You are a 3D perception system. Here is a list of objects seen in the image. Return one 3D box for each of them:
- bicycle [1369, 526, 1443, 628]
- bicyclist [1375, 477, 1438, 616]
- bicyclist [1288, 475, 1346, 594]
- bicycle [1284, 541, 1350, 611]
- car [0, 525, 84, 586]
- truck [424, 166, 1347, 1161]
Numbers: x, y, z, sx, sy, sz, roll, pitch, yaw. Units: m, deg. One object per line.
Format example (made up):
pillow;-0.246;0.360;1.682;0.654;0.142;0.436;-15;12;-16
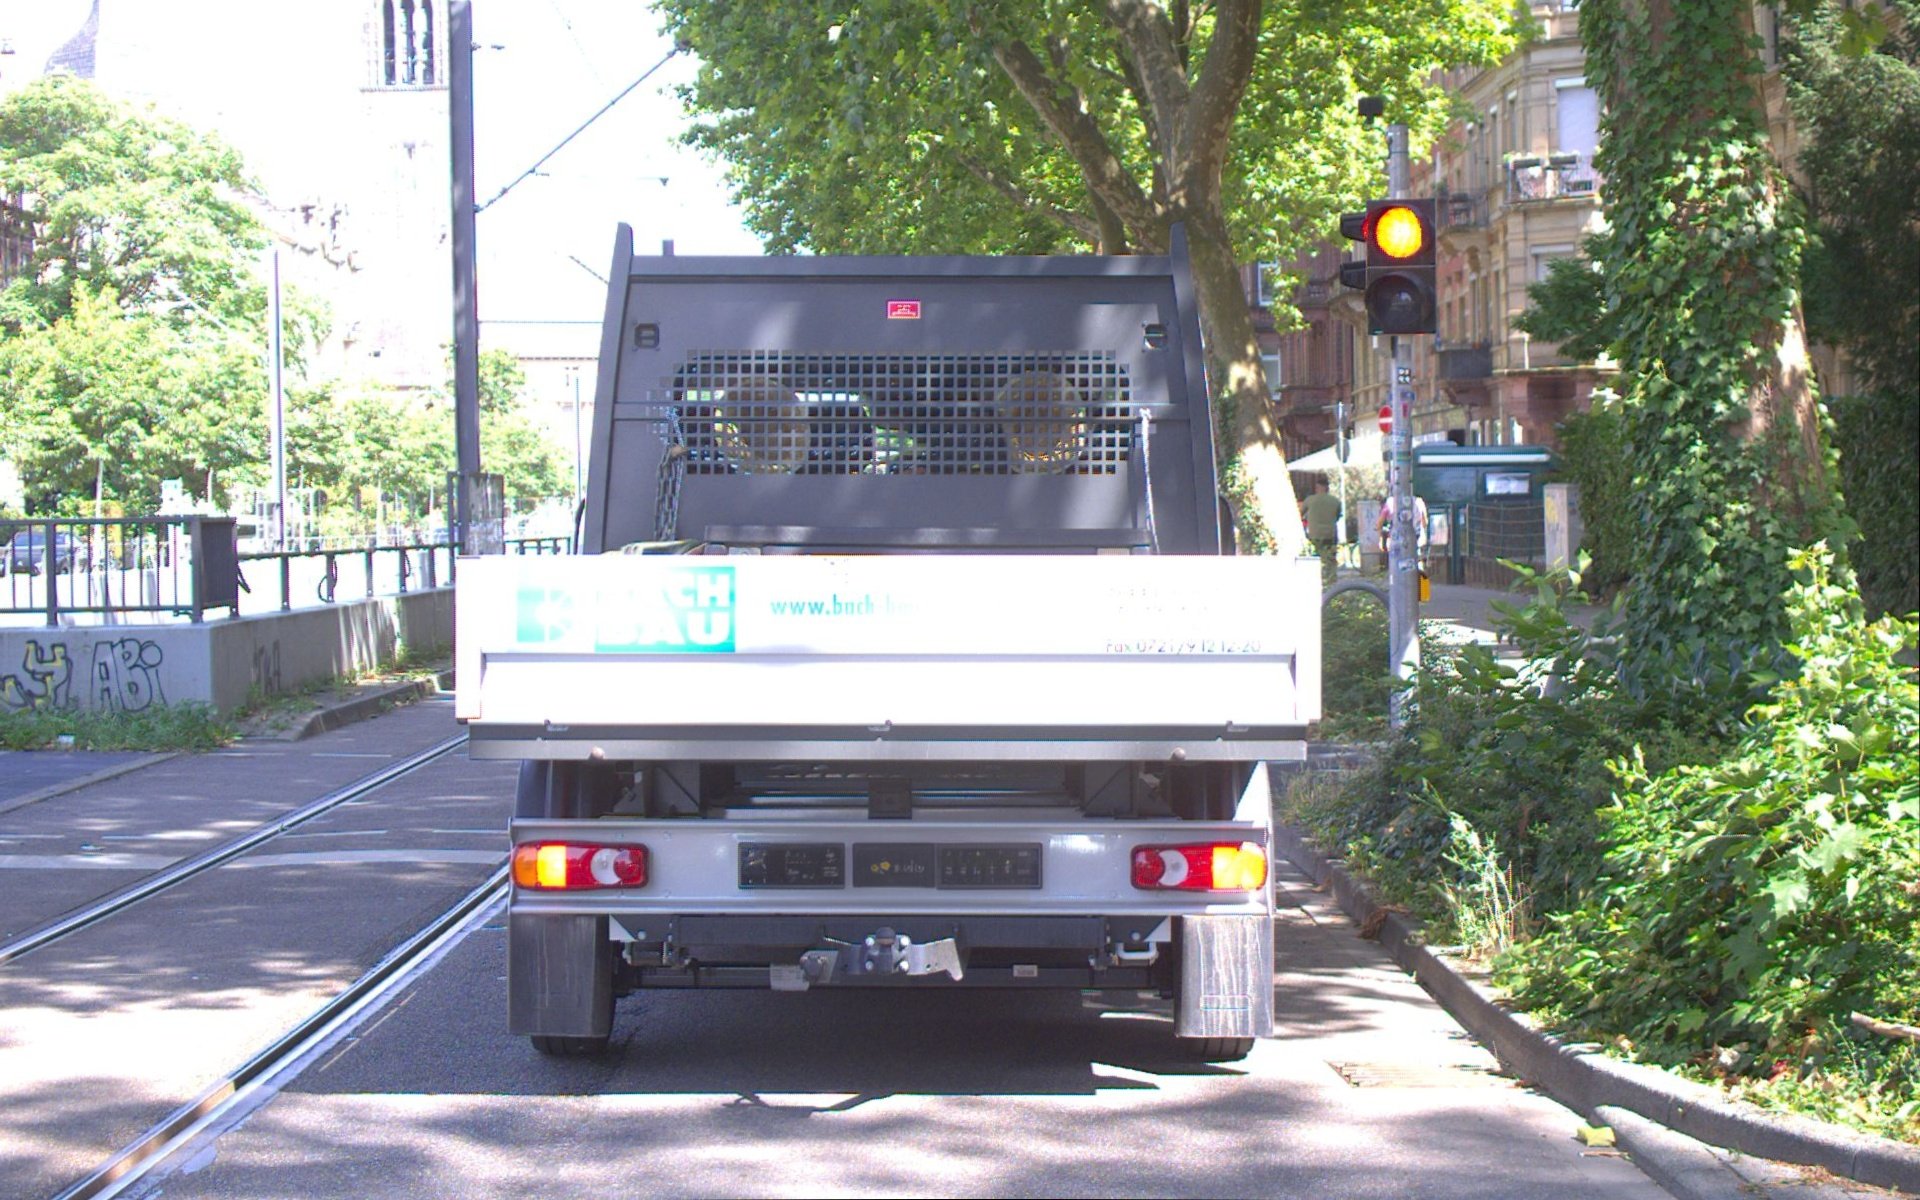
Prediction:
bicycle;5.129;-0.282;39.619;0.565;1.108;2.310;-1;2;1
bicyclist;5.125;-0.618;39.504;0.638;1.568;0.579;-1;1;1
bicyclist;4.771;-0.878;45.978;0.680;1.558;0.777;-1;1;1
bicycle;4.783;-0.333;46.145;0.675;0.878;2.163;-1;2;1
car;-23.548;-1.140;87.069;1.770;1.493;4.001;-1;1;-2
truck;-0.170;0.095;10.313;2.138;2.311;4.402;1;1;0
